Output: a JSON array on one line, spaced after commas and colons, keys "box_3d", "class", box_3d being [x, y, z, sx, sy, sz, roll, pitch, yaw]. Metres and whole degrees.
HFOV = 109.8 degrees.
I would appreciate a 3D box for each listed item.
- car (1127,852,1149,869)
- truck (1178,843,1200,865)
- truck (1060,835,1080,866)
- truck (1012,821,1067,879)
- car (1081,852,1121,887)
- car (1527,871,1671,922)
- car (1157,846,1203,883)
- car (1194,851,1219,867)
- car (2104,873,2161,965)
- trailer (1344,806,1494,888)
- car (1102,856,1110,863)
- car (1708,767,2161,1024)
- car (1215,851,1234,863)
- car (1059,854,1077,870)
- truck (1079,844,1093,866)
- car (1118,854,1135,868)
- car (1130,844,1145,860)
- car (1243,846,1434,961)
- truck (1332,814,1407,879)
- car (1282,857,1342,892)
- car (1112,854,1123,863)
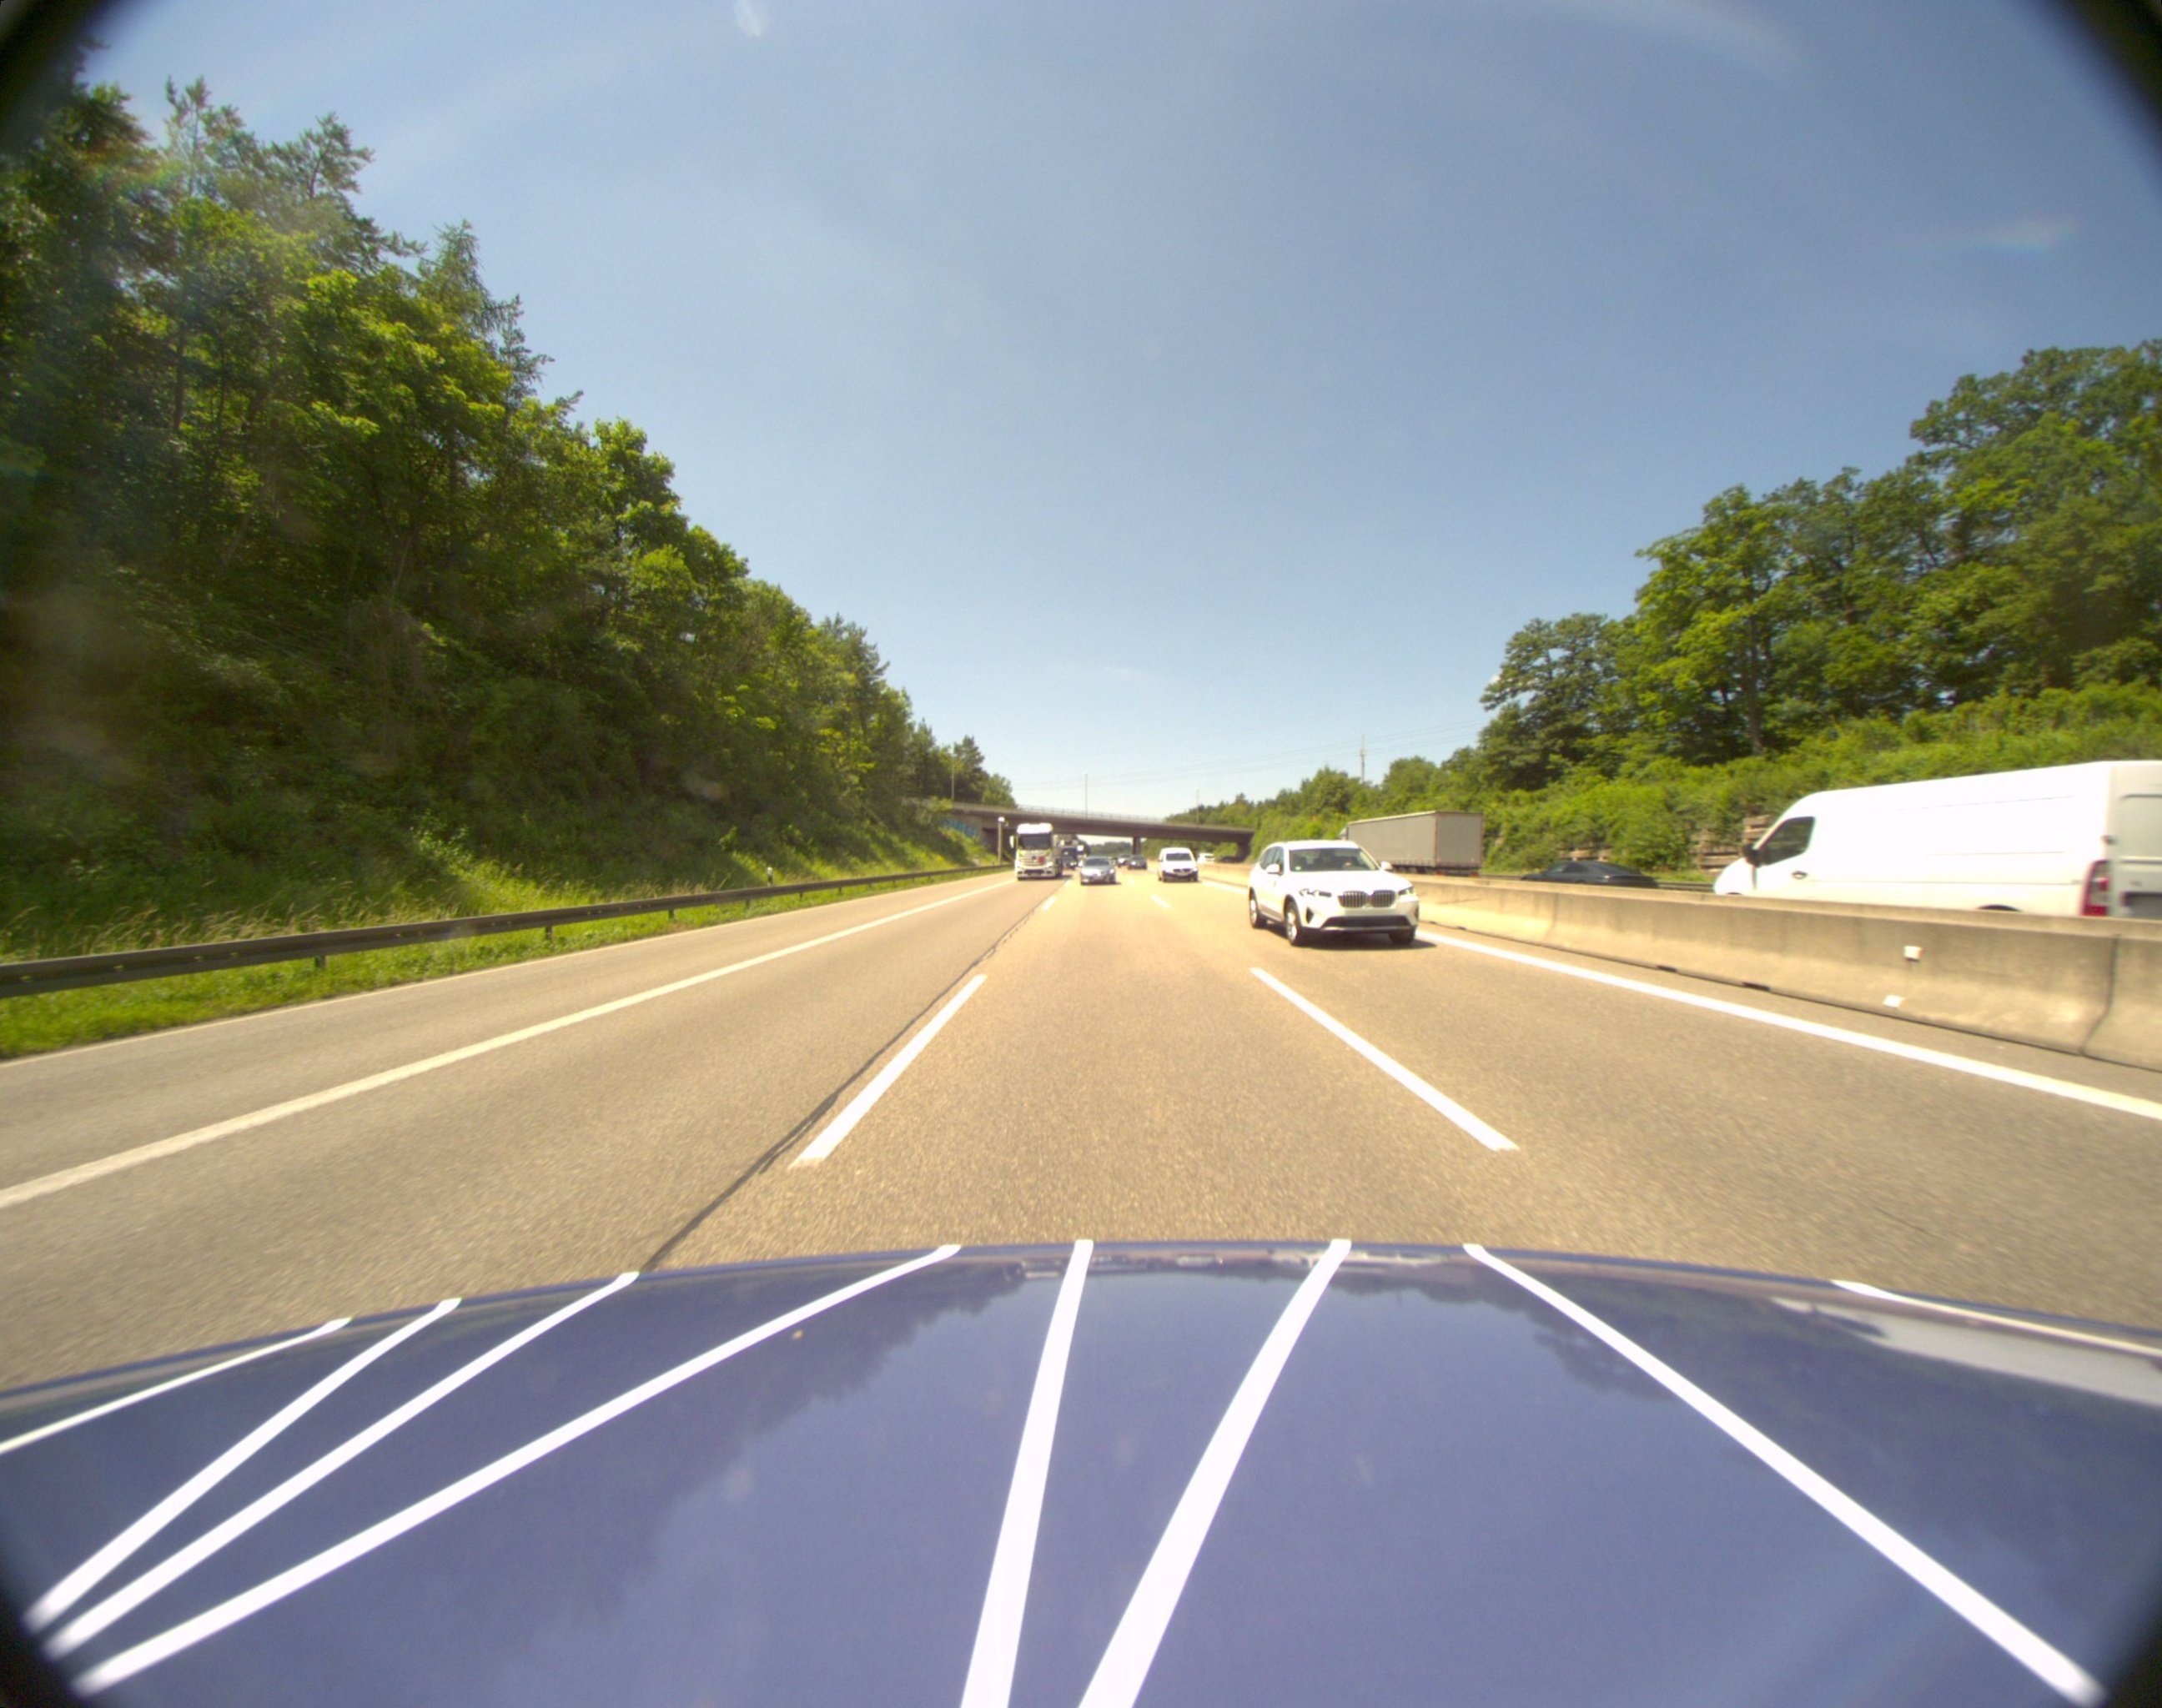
[{"box_3d": [5.585, 0.575, 74.586, 1.770, 1.504, 4.725, -2, 1, 1], "class": "car"}, {"box_3d": [22.107, -0.040, 156.376, 2.627, 4.365, 13.086, -2, 1, 1], "class": "truck"}, {"box_3d": [-1.589, -0.573, 116.958, 2.627, 4.365, 13.086, -2, 1, 1], "class": "truck"}, {"box_3d": [-2.723, -0.316, 53.619, 2.844, 3.518, 13.086, -2, 1, 1], "class": "truck"}, {"box_3d": [1.035, 0.737, 37.935, 1.843, 1.518, 4.501, -2, 1, 2], "class": "car"}, {"box_3d": [15.778, 1.240, 23.419, 1.646, 1.280, 4.104, 1, 0, 1], "class": "car"}, {"box_3d": [5.205, 0.495, 40.627, 1.998, 1.764, 4.501, -2, 1, 2], "class": "car"}, {"box_3d": [13.270, 0.542, 80.342, 1.944, 1.616, 4.281, 1, 0, 1], "class": "car"}, {"box_3d": [19.014, 1.118, 11.272, 1.900, 1.529, 4.281, 1, 0, 1], "class": "car"}, {"box_3d": [19.891, -0.451, 46.274, 2.942, 4.162, 14.183, -2, 1, 1], "class": "trailer"}, {"box_3d": [6.241, 1.461, 188.720, 1.944, 1.616, 4.281, 1, 0, 1], "class": "car"}, {"box_3d": [12.041, 0.433, 10.538, 2.245, 2.667, 5.341, 1, 0, 1], "class": "car"}, {"box_3d": [20.580, 0.452, 108.946, 1.944, 1.616, 4.281, 1, 0, 1], "class": "car"}, {"box_3d": [-1.344, 0.791, 79.163, 1.770, 1.504, 3.999, -2, 1, 1], "class": "car"}, {"box_3d": [1.021, 0.176, 159.371, 2.627, 4.365, 13.086, -2, 1, 1], "class": "truck"}, {"box_3d": [5.448, 0.819, 91.816, 1.770, 1.504, 3.999, -2, 1, 1], "class": "car"}, {"box_3d": [9.886, -0.334, 133.514, 2.245, 2.667, 5.341, 1, 0, 1], "class": "car"}, {"box_3d": [4.180, 0.704, 13.145, 1.850, 1.634, 4.368, -1, 0, 1], "class": "car"}, {"box_3d": [19.985, -0.526, 53.005, 2.942, 4.162, 5.948, -2, 1, 1], "class": "truck"}, {"box_3d": [12.168, 1.058, 40.319, 1.944, 1.690, 4.281, 1, 0, 1], "class": "car"}, {"box_3d": [6.598, 0.746, 138.353, 1.770, 1.504, 3.999, -2, 1, 1], "class": "car"}]
